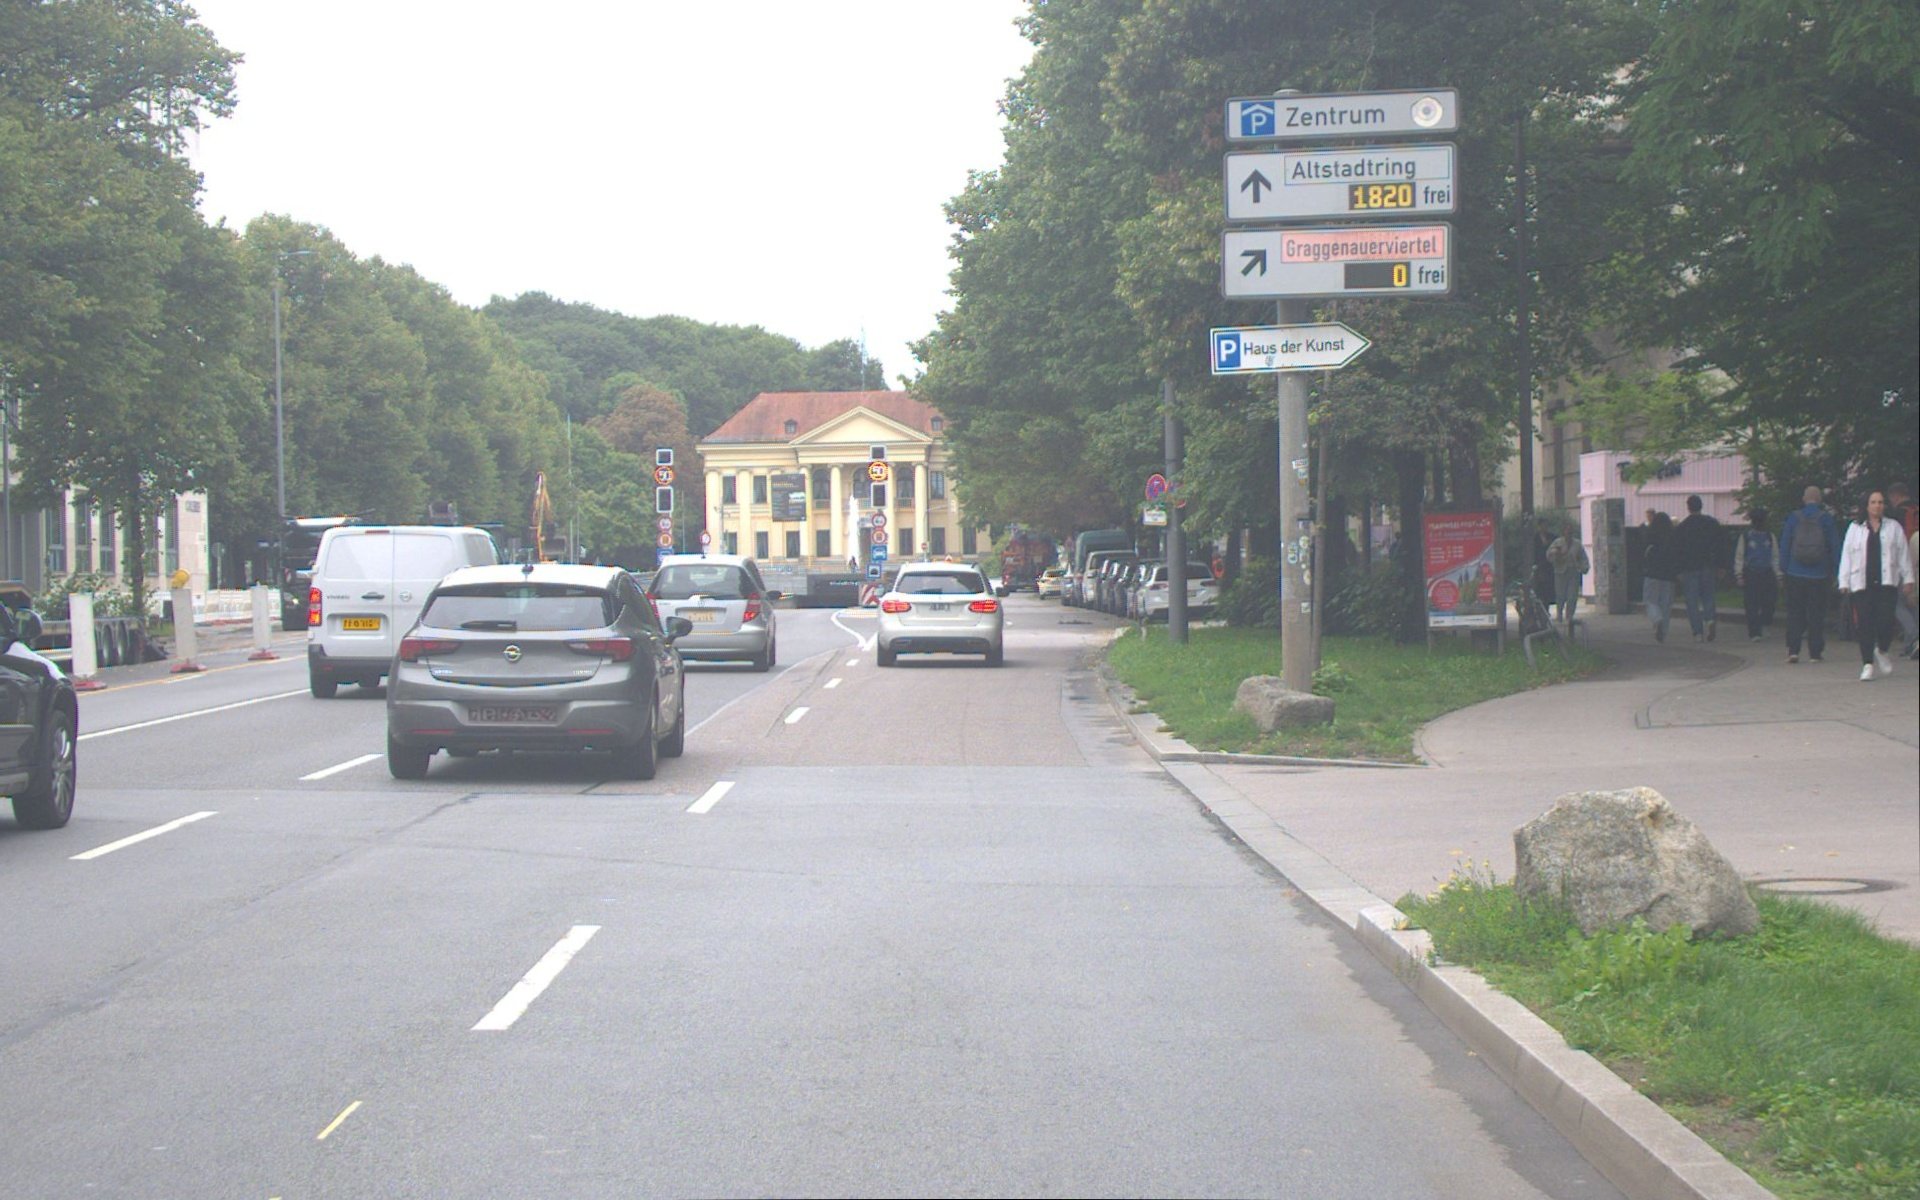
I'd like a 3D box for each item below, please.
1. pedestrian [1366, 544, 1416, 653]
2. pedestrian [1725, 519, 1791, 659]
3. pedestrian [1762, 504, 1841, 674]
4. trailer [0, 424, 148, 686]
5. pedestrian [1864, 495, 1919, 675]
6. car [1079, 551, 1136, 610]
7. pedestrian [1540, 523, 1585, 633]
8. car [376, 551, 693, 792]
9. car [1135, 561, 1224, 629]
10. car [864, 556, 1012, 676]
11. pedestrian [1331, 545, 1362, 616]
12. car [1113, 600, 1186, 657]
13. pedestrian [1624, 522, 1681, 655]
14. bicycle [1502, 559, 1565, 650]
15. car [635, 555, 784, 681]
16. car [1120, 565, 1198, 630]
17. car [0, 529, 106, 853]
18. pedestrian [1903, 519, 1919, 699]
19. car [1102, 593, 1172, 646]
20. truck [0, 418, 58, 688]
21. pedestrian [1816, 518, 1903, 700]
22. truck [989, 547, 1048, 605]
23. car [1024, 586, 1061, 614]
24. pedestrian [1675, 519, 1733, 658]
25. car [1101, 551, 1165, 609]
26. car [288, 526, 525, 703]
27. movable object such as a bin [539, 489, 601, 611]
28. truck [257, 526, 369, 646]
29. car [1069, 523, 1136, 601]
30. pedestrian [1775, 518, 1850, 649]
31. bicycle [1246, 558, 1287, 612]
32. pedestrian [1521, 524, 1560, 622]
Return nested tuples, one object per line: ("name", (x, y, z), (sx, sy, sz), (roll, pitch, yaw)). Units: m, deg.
("pedestrian", (7.651, -0.027, 60.992), (0.779, 1.904, 0.771), (0, 0, 1))
("pedestrian", (9.982, -0.134, 43.009), (0.755, 1.731, 0.849), (0, 0, 15))
("pedestrian", (8.691, -0.119, 35.503), (0.755, 1.731, 0.849), (0, 0, 15))
("trailer", (-15.353, -0.672, 54.569), (2.949, 3.727, 11.772), (0, 0, -4))
("pedestrian", (9.693, -0.153, 35.323), (0.588, 1.816, 0.850), (0, 0, 1))
("car", (4.818, -0.637, 112.683), (1.724, 1.861, 4.027), (-1, 0, 1))
("pedestrian", (9.787, -0.361, 55.883), (0.630, 1.768, 0.782), (0, 0, 4))
("car", (-2.913, 0.455, 24.274), (1.710, 1.547, 4.000), (0, 0, 0))
("car", (5.187, -0.122, 81.754), (1.827, 1.544, 4.751), (-1, 0, 1))
("car", (-0.359, 0.213, 49.473), (1.779, 1.639, 4.001), (0, 0, -5))
("pedestrian", (10.471, -0.537, 93.124), (0.764, 1.904, 0.771), (0, 0, 1))
("car", (5.136, 0.750, 93.655), (1.724, 1.460, 4.775), (-1, 0, 1))
("pedestrian", (8.846, -0.150, 43.950), (0.608, 1.675, 0.753), (0, 0, 4))
("bicycle", (6.630, 0.049, 39.809), (0.384, 1.018, 2.079), (0, 0, 0))
("car", (-3.392, 0.232, 47.191), (1.779, 1.648, 4.000), (0, 0, -1))
("car", (5.011, -0.067, 86.961), (1.724, 1.544, 4.585), (-1, 0, 1))
("car", (-5.696, 0.469, 17.411), (1.722, 1.631, 4.205), (-1, 0, -1))
("pedestrian", (9.013, 0.083, 31.414), (0.755, 1.638, 0.690), (0, 0, 15))
("car", (5.073, 0.540, 99.119), (1.823, 1.460, 4.027), (-1, 0, 1))
("truck", (-14.865, -0.669, 48.182), (2.915, 3.762, 7.667), (0, 0, -4))
("pedestrian", (8.235, 0.076, 31.464), (0.755, 1.638, 0.650), (0, 0, 15))
("truck", (3.445, -1.388, 203.913), (3.325, 3.355, 8.662), (0, 0, 0))
("car", (3.986, -0.004, 166.702), (1.724, 1.319, 4.027), (-1, 0, 1))
("pedestrian", (9.483, -0.144, 43.836), (0.608, 1.757, 0.797), (0, 0, 4))
("car", (5.244, -0.600, 104.382), (1.724, 1.659, 4.589), (-1, 0, 1))
("car", (-6.168, 0.161, 38.849), (1.898, 1.841, 4.956), (-1, 0, -1))
("movable object such as a bin", (-21.092, -2.657, 186.139), (2.699, 6.489, 5.176), (0, 0, 0))
("truck", (-18.882, -0.402, 100.731), (2.840, 3.345, 8.766), (0, 0, -8))
("car", (4.960, -1.317, 119.973), (1.993, 2.634, 4.878), (0, 0, -1))
("pedestrian", (10.750, -0.208, 43.357), (0.680, 1.632, 0.664), (0, 0, -11))
("bicycle", (7.105, -0.354, 79.801), (0.628, 1.227, 2.619), (0, 0, -2))
("pedestrian", (9.901, -0.457, 58.652), (0.580, 1.670, 0.553), (0, 0, 4))
